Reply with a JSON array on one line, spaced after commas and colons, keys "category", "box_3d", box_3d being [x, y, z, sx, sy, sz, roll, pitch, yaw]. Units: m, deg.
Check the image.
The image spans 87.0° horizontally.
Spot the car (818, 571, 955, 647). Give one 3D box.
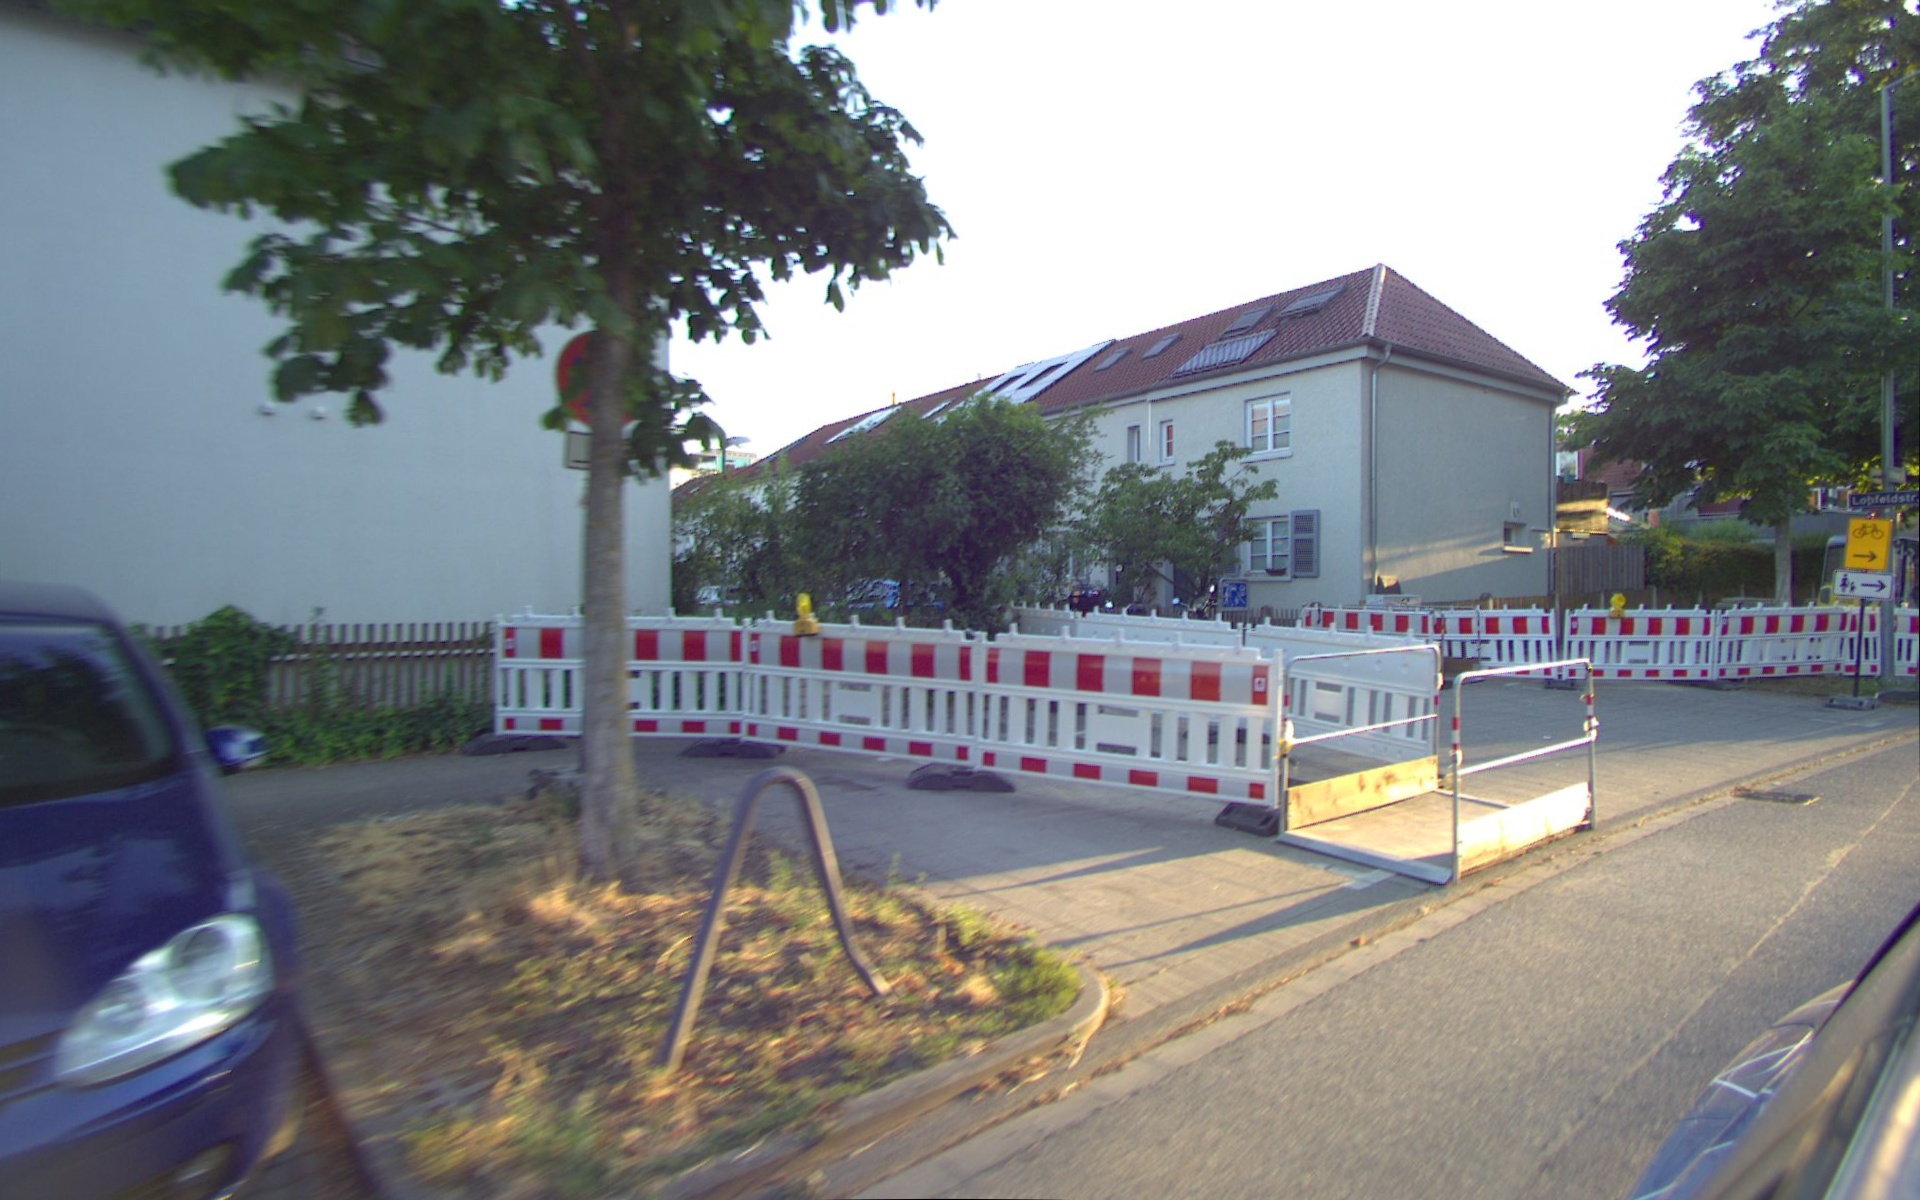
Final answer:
[{"category": "car", "box_3d": [-1.828, 0.200, 24.200, 1.687, 1.658, 3.634, 0, 0, -34]}]

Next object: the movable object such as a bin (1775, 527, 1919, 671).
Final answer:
[{"category": "movable object such as a bin", "box_3d": [17.789, -0.021, 19.235, 5.105, 2.433, 2.633, 0, 0, -40]}]

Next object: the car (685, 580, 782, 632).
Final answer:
[{"category": "car", "box_3d": [-7.038, 0.186, 31.281, 1.679, 1.509, 3.565, 0, 0, -36]}]

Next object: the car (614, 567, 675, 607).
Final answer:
[{"category": "car", "box_3d": [-13.170, -0.523, 42.165, 1.517, 1.572, 3.275, 0, 0, -36]}]

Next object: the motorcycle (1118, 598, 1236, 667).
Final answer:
[{"category": "motorcycle", "box_3d": [3.607, 0.531, 16.889, 1.810, 1.120, 0.581, 0, -1, -5]}]

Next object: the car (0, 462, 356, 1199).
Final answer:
[{"category": "car", "box_3d": [-3.216, 0.622, 2.840, 1.736, 1.672, 3.988, 0, 0, -44]}]

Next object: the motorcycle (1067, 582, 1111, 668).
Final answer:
[{"category": "motorcycle", "box_3d": [2.306, 0.413, 17.955, 0.588, 1.434, 2.073, -1, 0, 12]}]
